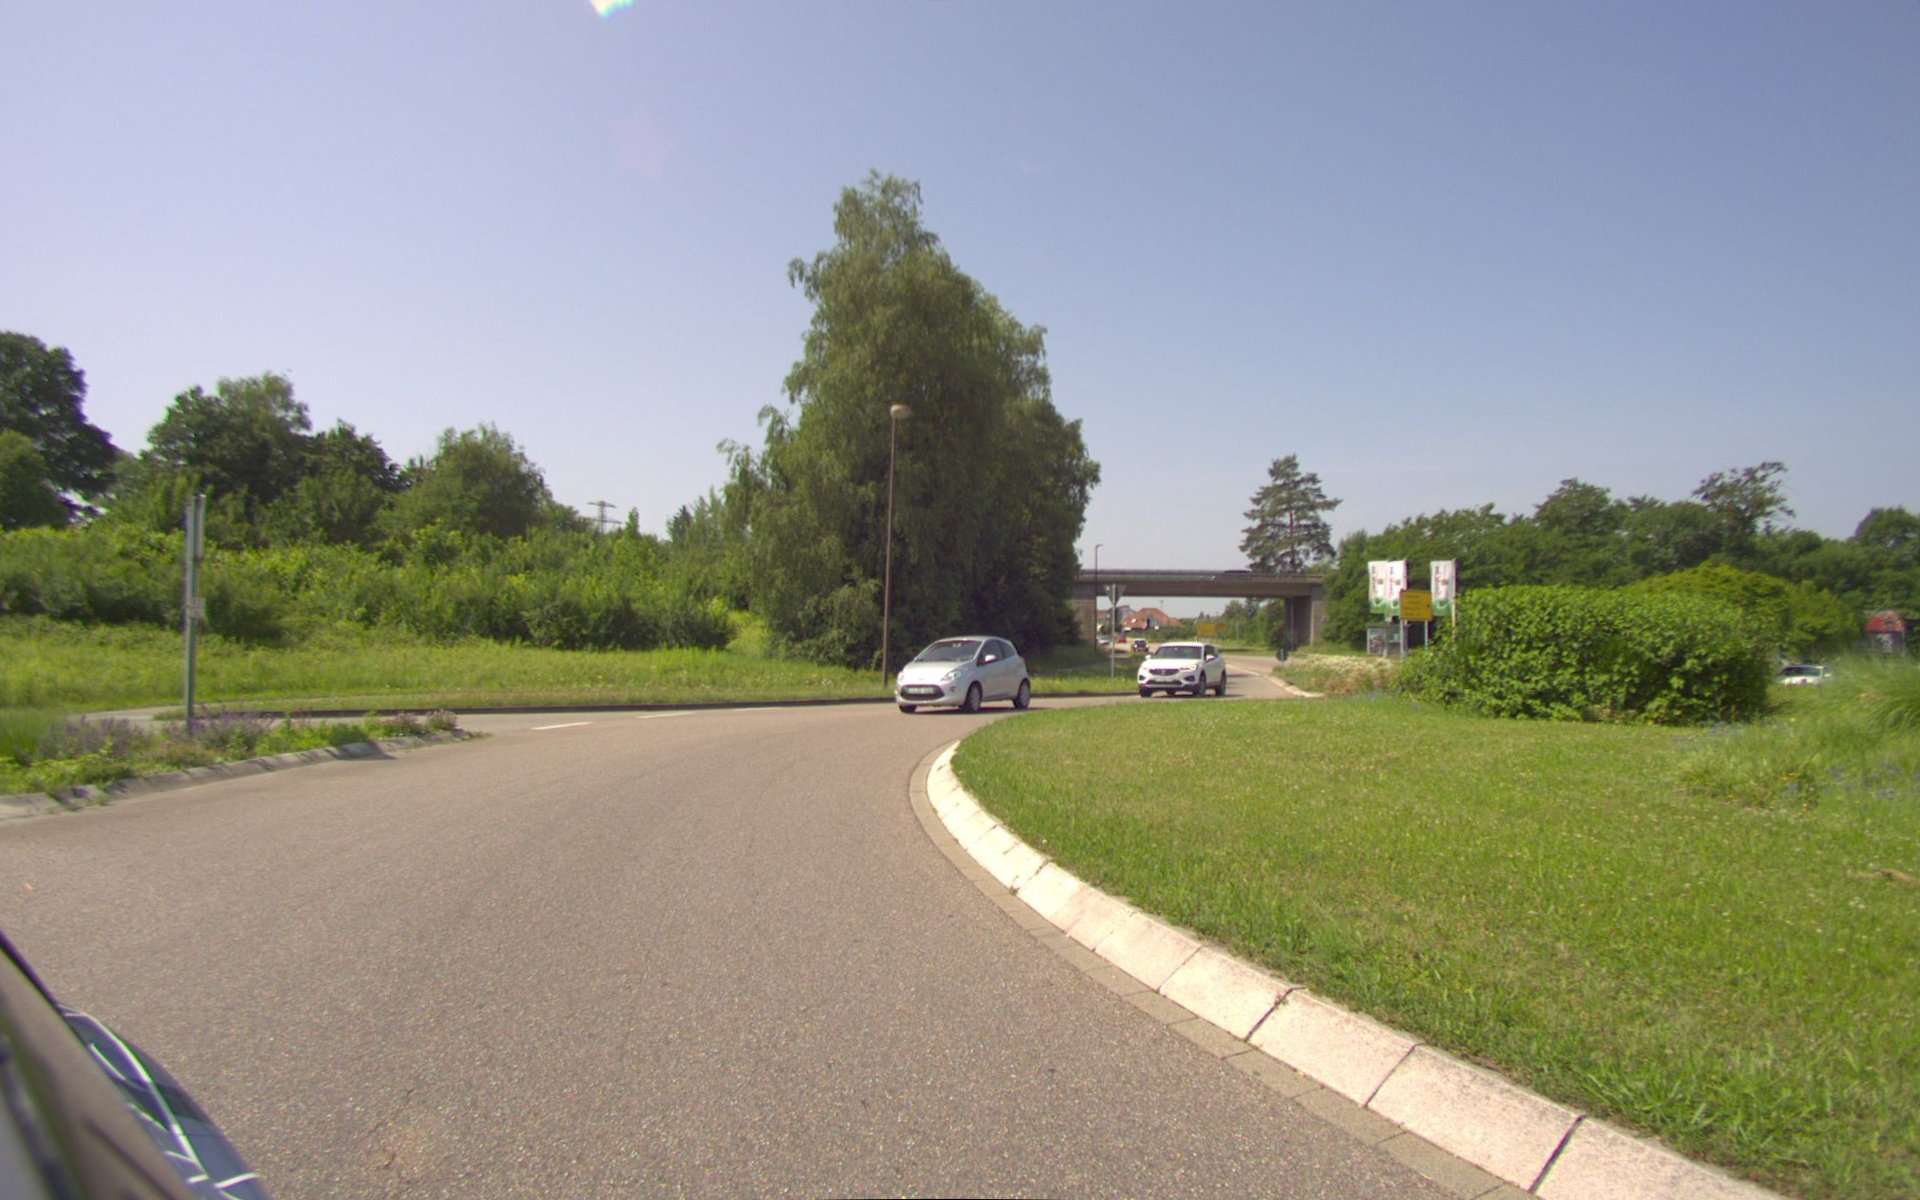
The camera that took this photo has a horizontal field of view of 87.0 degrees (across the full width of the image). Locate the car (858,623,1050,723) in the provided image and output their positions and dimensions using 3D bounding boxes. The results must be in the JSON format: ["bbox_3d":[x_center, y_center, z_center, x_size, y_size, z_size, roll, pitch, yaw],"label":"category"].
[{"bbox_3d":[0.009,1.351,20.276,2.119,1.628,4.159,-1,0,28],"label":"car"}]

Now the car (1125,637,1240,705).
[{"bbox_3d":[6.809,2.051,30.557,2.187,1.665,5.074,1,0,27],"label":"car"}]

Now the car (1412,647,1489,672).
[{"bbox_3d":[35.562,4.309,73.485,4.580,1.665,2.026,1,0,5],"label":"car"}]

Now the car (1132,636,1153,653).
[{"bbox_3d":[19.934,4.819,110.599,2.005,1.665,4.629,1,0,7],"label":"car"}]
